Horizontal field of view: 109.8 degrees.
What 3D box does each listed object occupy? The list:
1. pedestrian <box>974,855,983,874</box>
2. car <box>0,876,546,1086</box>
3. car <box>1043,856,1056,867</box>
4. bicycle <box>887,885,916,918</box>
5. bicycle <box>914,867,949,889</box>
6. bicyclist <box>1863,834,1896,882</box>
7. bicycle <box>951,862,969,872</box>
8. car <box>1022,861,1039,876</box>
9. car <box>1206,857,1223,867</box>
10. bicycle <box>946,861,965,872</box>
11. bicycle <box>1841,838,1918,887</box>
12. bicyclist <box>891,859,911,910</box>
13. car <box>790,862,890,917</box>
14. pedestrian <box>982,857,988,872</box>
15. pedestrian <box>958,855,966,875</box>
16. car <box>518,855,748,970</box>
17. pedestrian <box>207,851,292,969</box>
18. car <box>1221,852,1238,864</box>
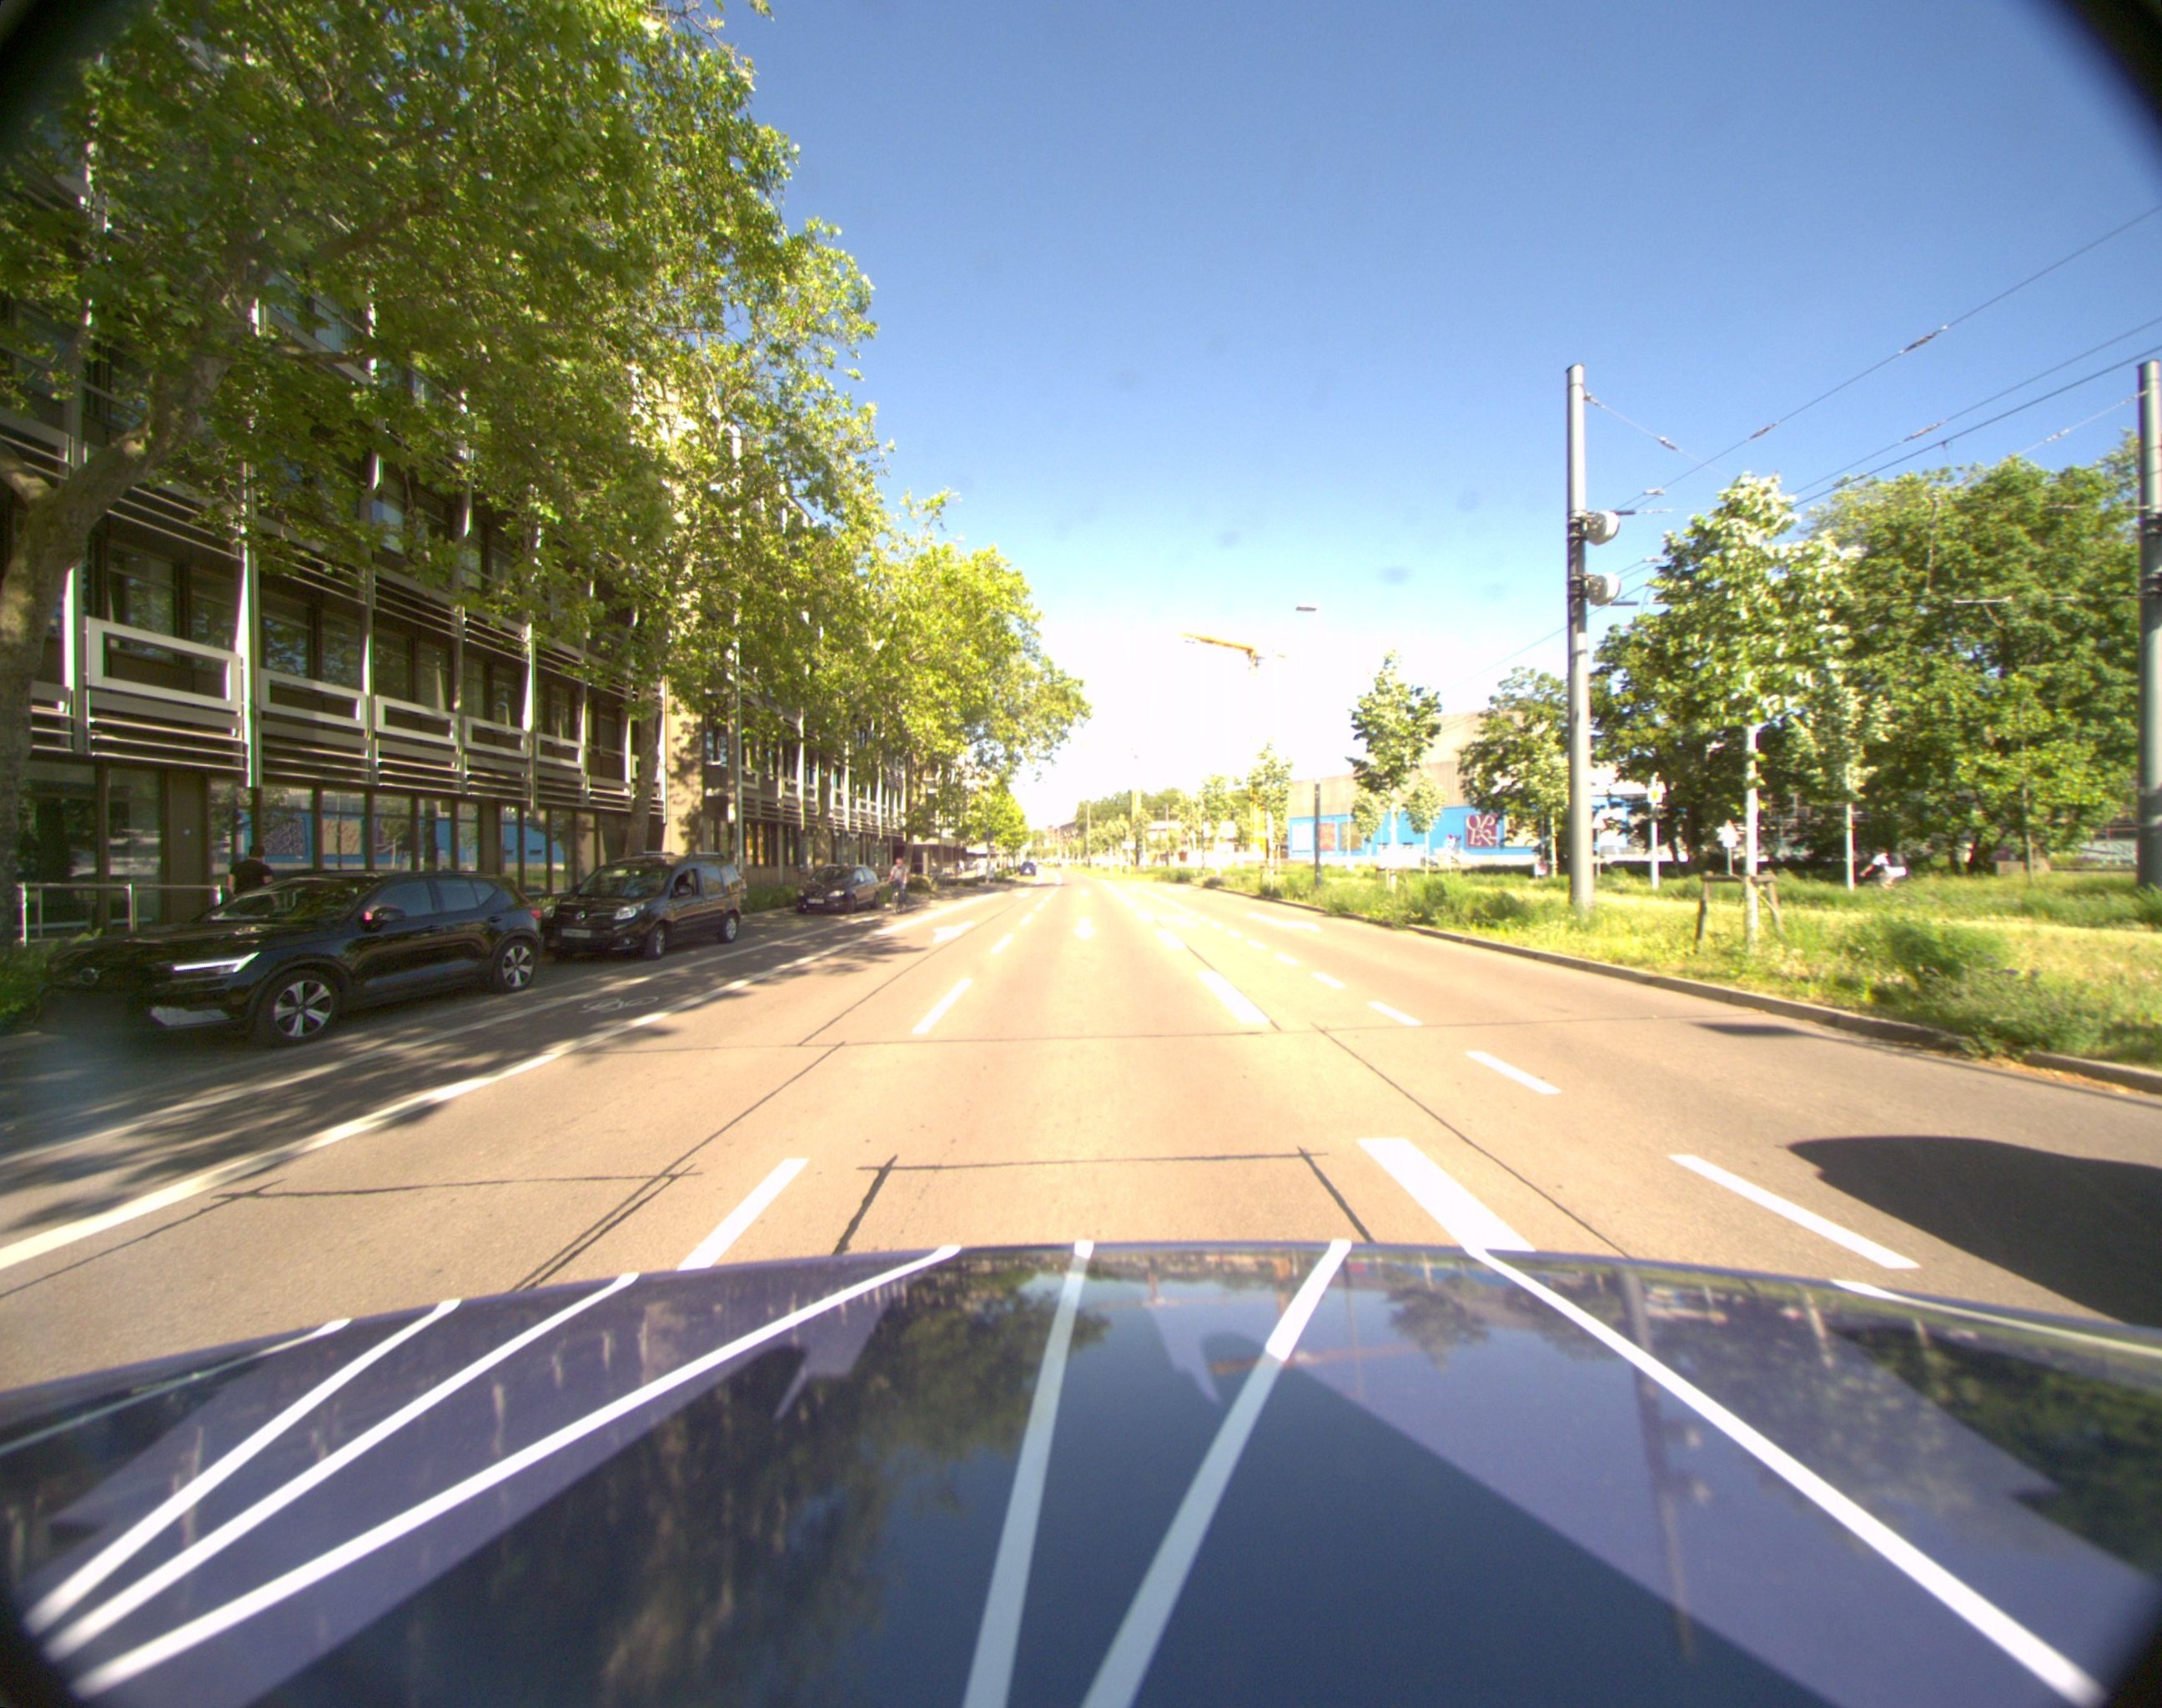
[{"bbox_3d":[-9.427,0.951,69.775,0.649,1.718,0.803,-1,0,0],"label":"pedestrian"},{"bbox_3d":[-8.184,1.097,8.255,1.708,1.554,4.192,-1,0,1],"label":"car"},{"bbox_3d":[-5.282,1.234,127.446,1.822,1.783,3.999,-3,1,1],"label":"car"},{"bbox_3d":[-5.674,1.468,24.084,0.499,0.900,2.196,-3,0,-4],"label":"bicycle"},{"bbox_3d":[-8.635,1.365,43.884,1.942,1.229,0.579,1,0,-3],"label":"bicycle"},{"bbox_3d":[24.463,0.128,23.291,0.395,1.446,0.539,-3,1,-1],"label":"bicyclist"},{"bbox_3d":[-13.034,1.380,81.632,1.862,1.005,0.427,1,0,1],"label":"bicycle"},{"bbox_3d":[-5.844,1.727,88.847,1.854,1.647,4.847,1,0,-2],"label":"car"},{"bbox_3d":[19.472,1.166,110.807,1.637,1.390,3.833,-1,0,-1],"label":"car"},{"bbox_3d":[-13.231,1.355,80.115,1.862,1.091,0.427,1,0,1],"label":"bicycle"},{"bbox_3d":[24.457,0.267,23.323,0.361,1.447,1.914,-1,0,1],"label":"bicycle"},{"bbox_3d":[-5.686,0.962,24.081,0.514,1.592,0.536,-1,1,-4],"label":"bicyclist"},{"bbox_3d":[-7.943,1.102,25.540,1.708,1.633,4.637,1,0,2],"label":"car"},{"bbox_3d":[-9.855,1.057,77.681,0.512,1.466,0.736,-1,0,0],"label":"pedestrian"},{"bbox_3d":[-9.861,0.916,63.170,0.512,1.691,0.774,-1,0,0],"label":"pedestrian"},{"bbox_3d":[-7.958,0.925,14.029,1.708,1.779,4.192,1,0,1],"label":"car"},{"bbox_3d":[-13.970,0.925,12.787,0.678,1.905,0.557,-3,1,1],"label":"pedestrian"},{"bbox_3d":[22.932,0.610,117.231,1.802,1.787,3.999,-3,1,1],"label":"car"}]
